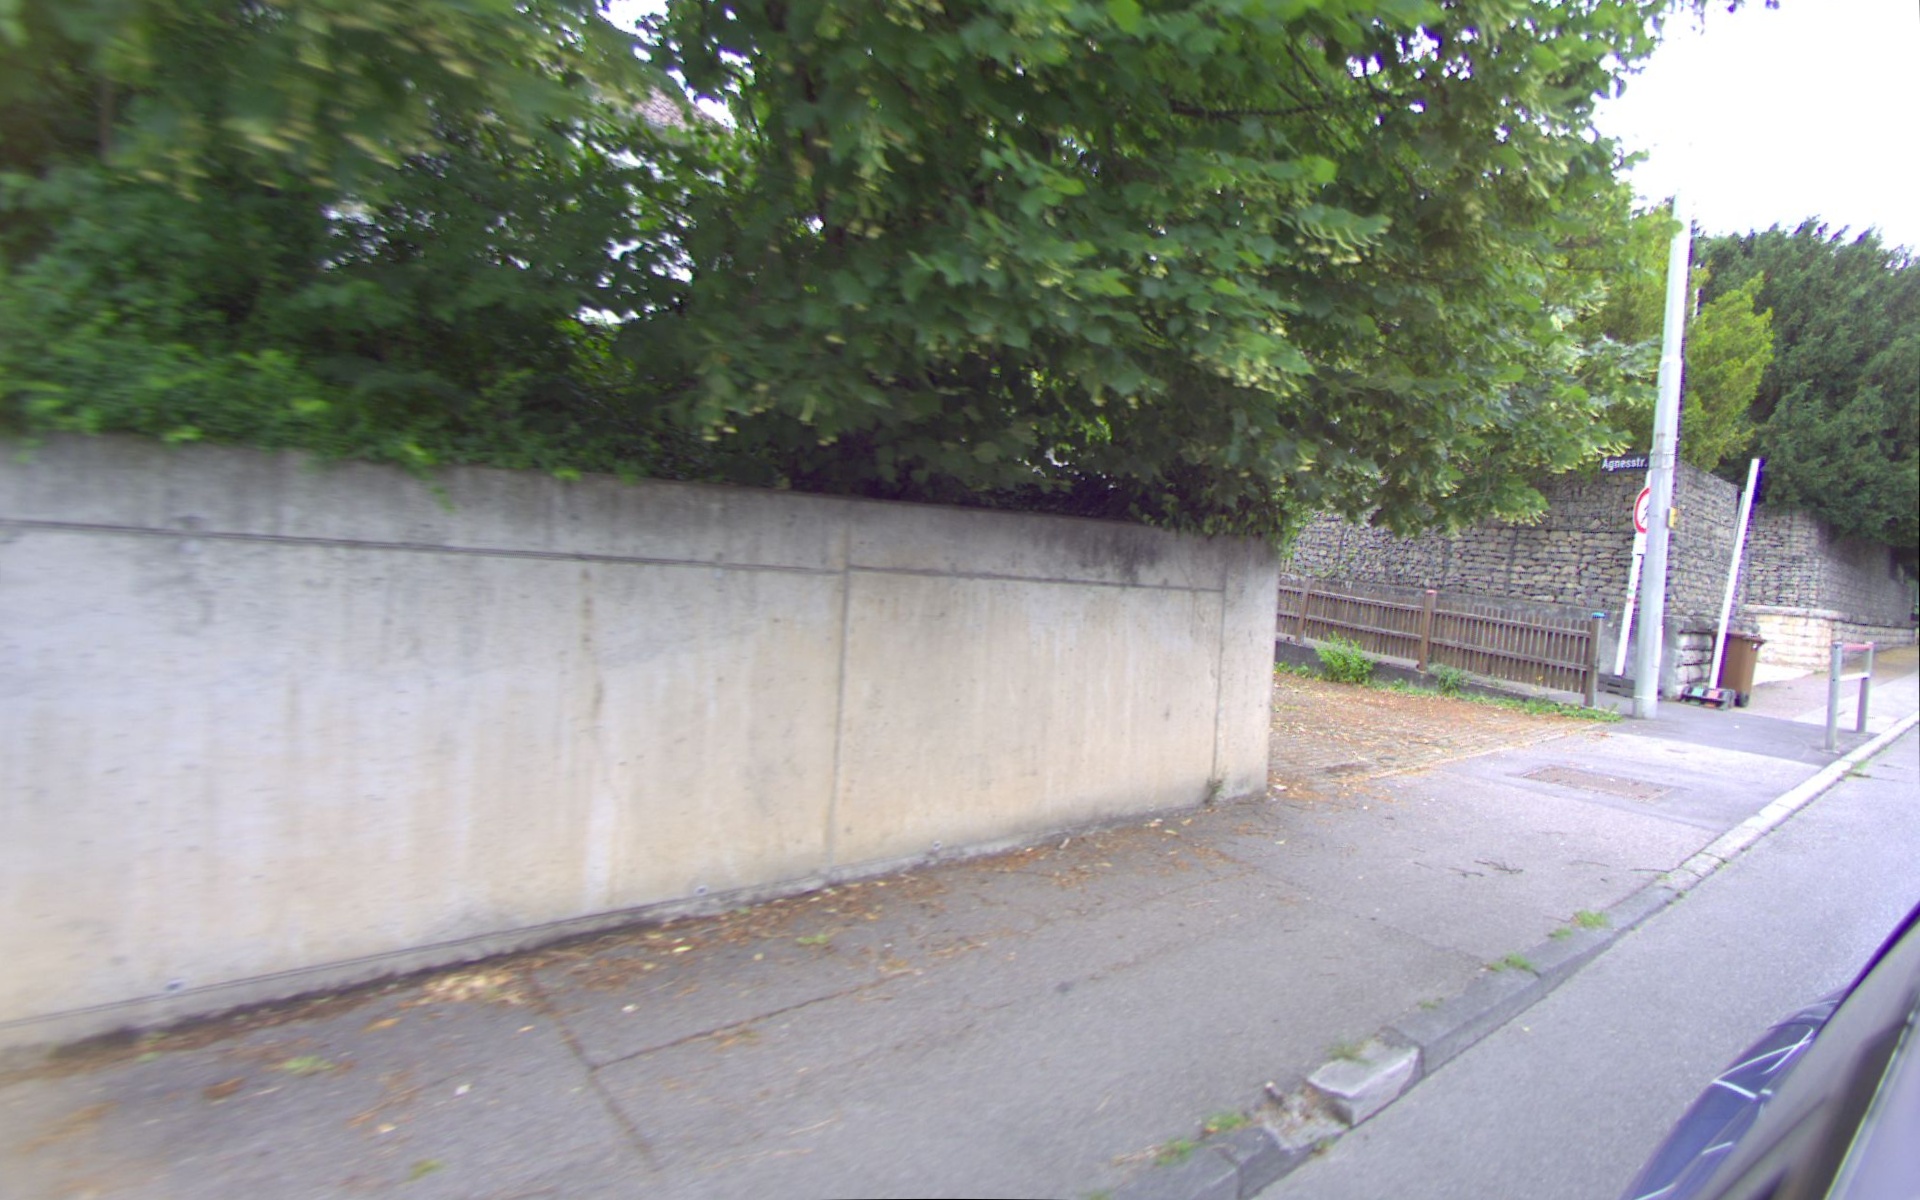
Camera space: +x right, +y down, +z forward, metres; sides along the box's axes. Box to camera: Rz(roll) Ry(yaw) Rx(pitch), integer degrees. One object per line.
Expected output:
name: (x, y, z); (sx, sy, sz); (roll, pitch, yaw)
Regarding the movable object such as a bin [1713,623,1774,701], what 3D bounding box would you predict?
movable object such as a bin: (9.793, 0.770, 12.648); (0.386, 0.921, 0.447); (1, 2, -31)
